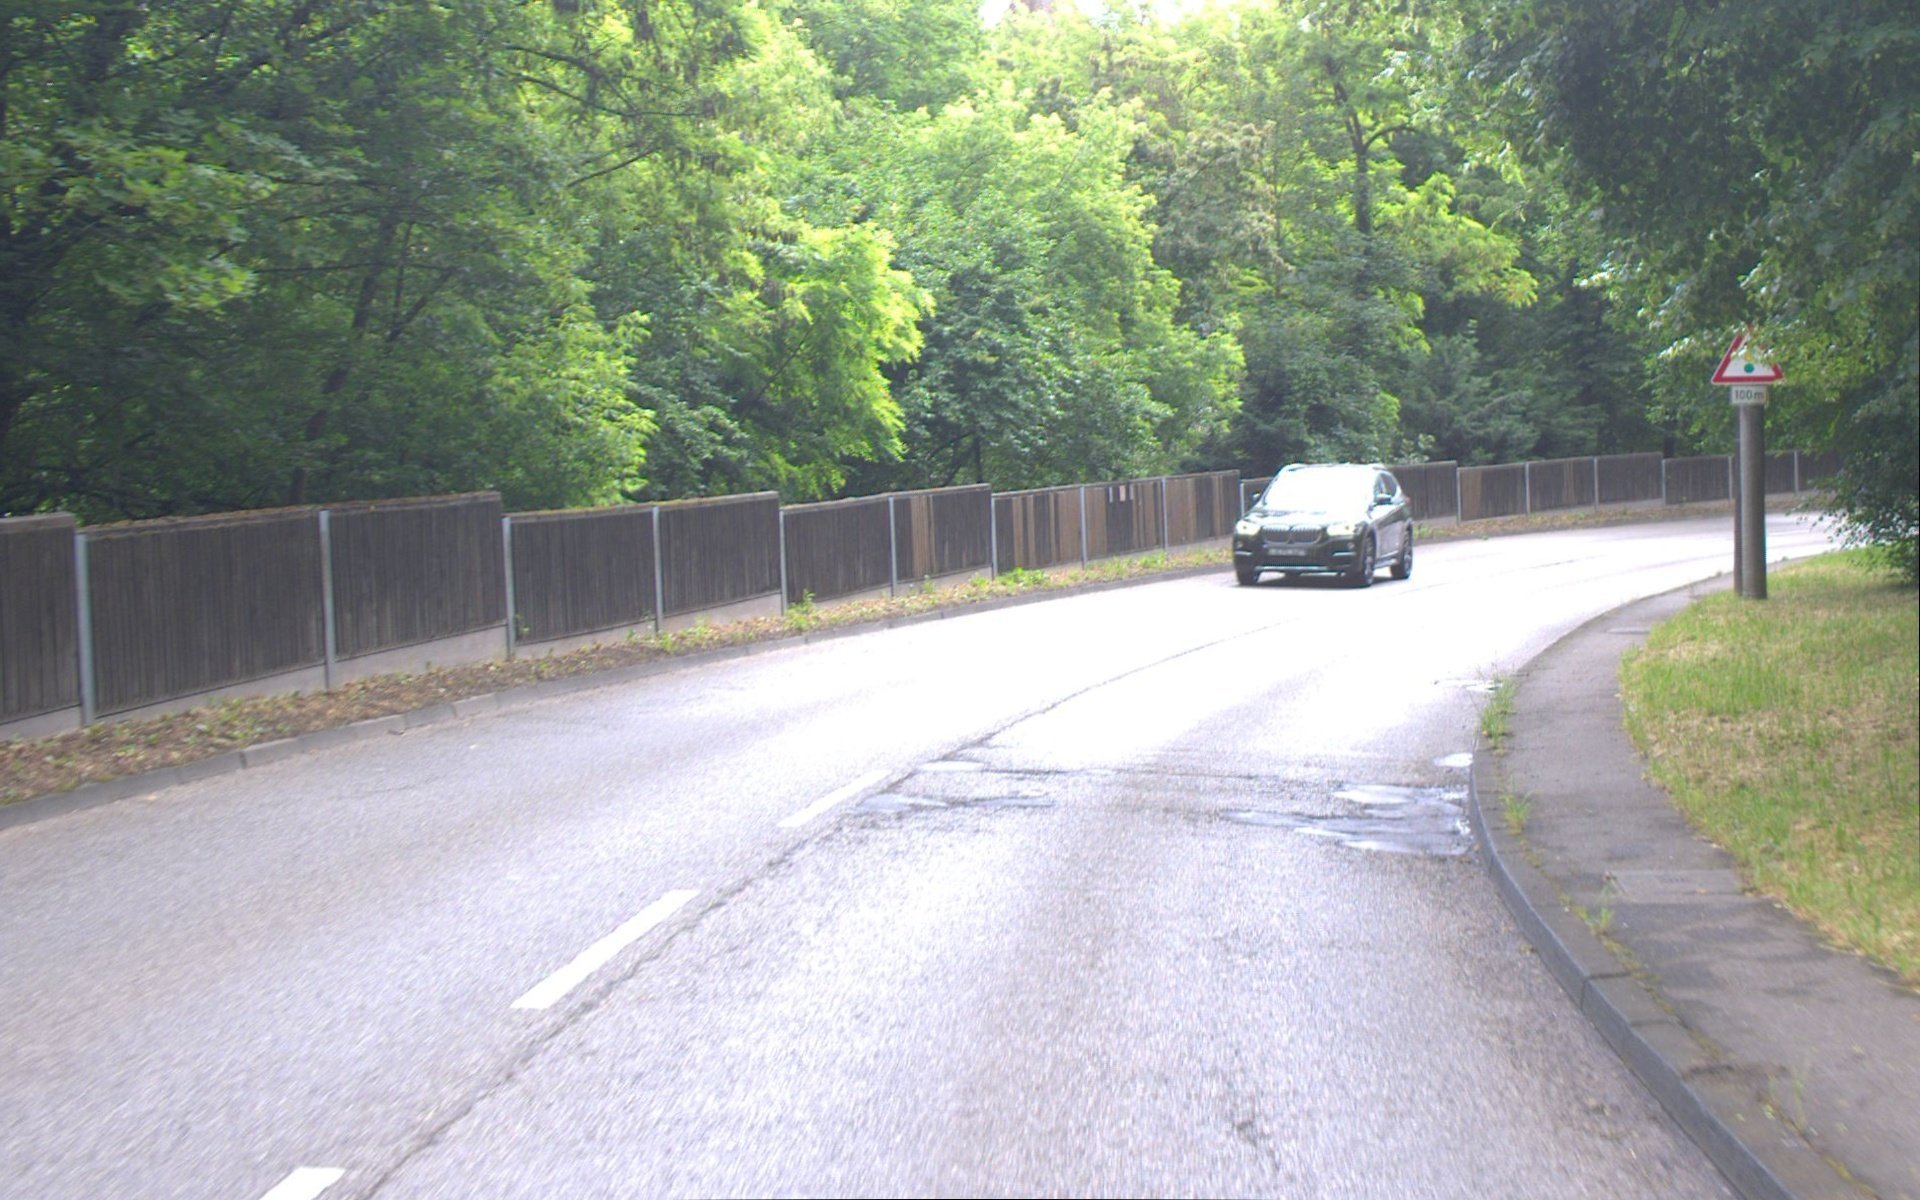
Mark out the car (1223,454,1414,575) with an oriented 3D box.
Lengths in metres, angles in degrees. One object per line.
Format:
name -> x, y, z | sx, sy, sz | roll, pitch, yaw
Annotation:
car -> 4.969, -1.211, 47.208 | 1.847, 1.559, 4.230 | 2, 3, 16
